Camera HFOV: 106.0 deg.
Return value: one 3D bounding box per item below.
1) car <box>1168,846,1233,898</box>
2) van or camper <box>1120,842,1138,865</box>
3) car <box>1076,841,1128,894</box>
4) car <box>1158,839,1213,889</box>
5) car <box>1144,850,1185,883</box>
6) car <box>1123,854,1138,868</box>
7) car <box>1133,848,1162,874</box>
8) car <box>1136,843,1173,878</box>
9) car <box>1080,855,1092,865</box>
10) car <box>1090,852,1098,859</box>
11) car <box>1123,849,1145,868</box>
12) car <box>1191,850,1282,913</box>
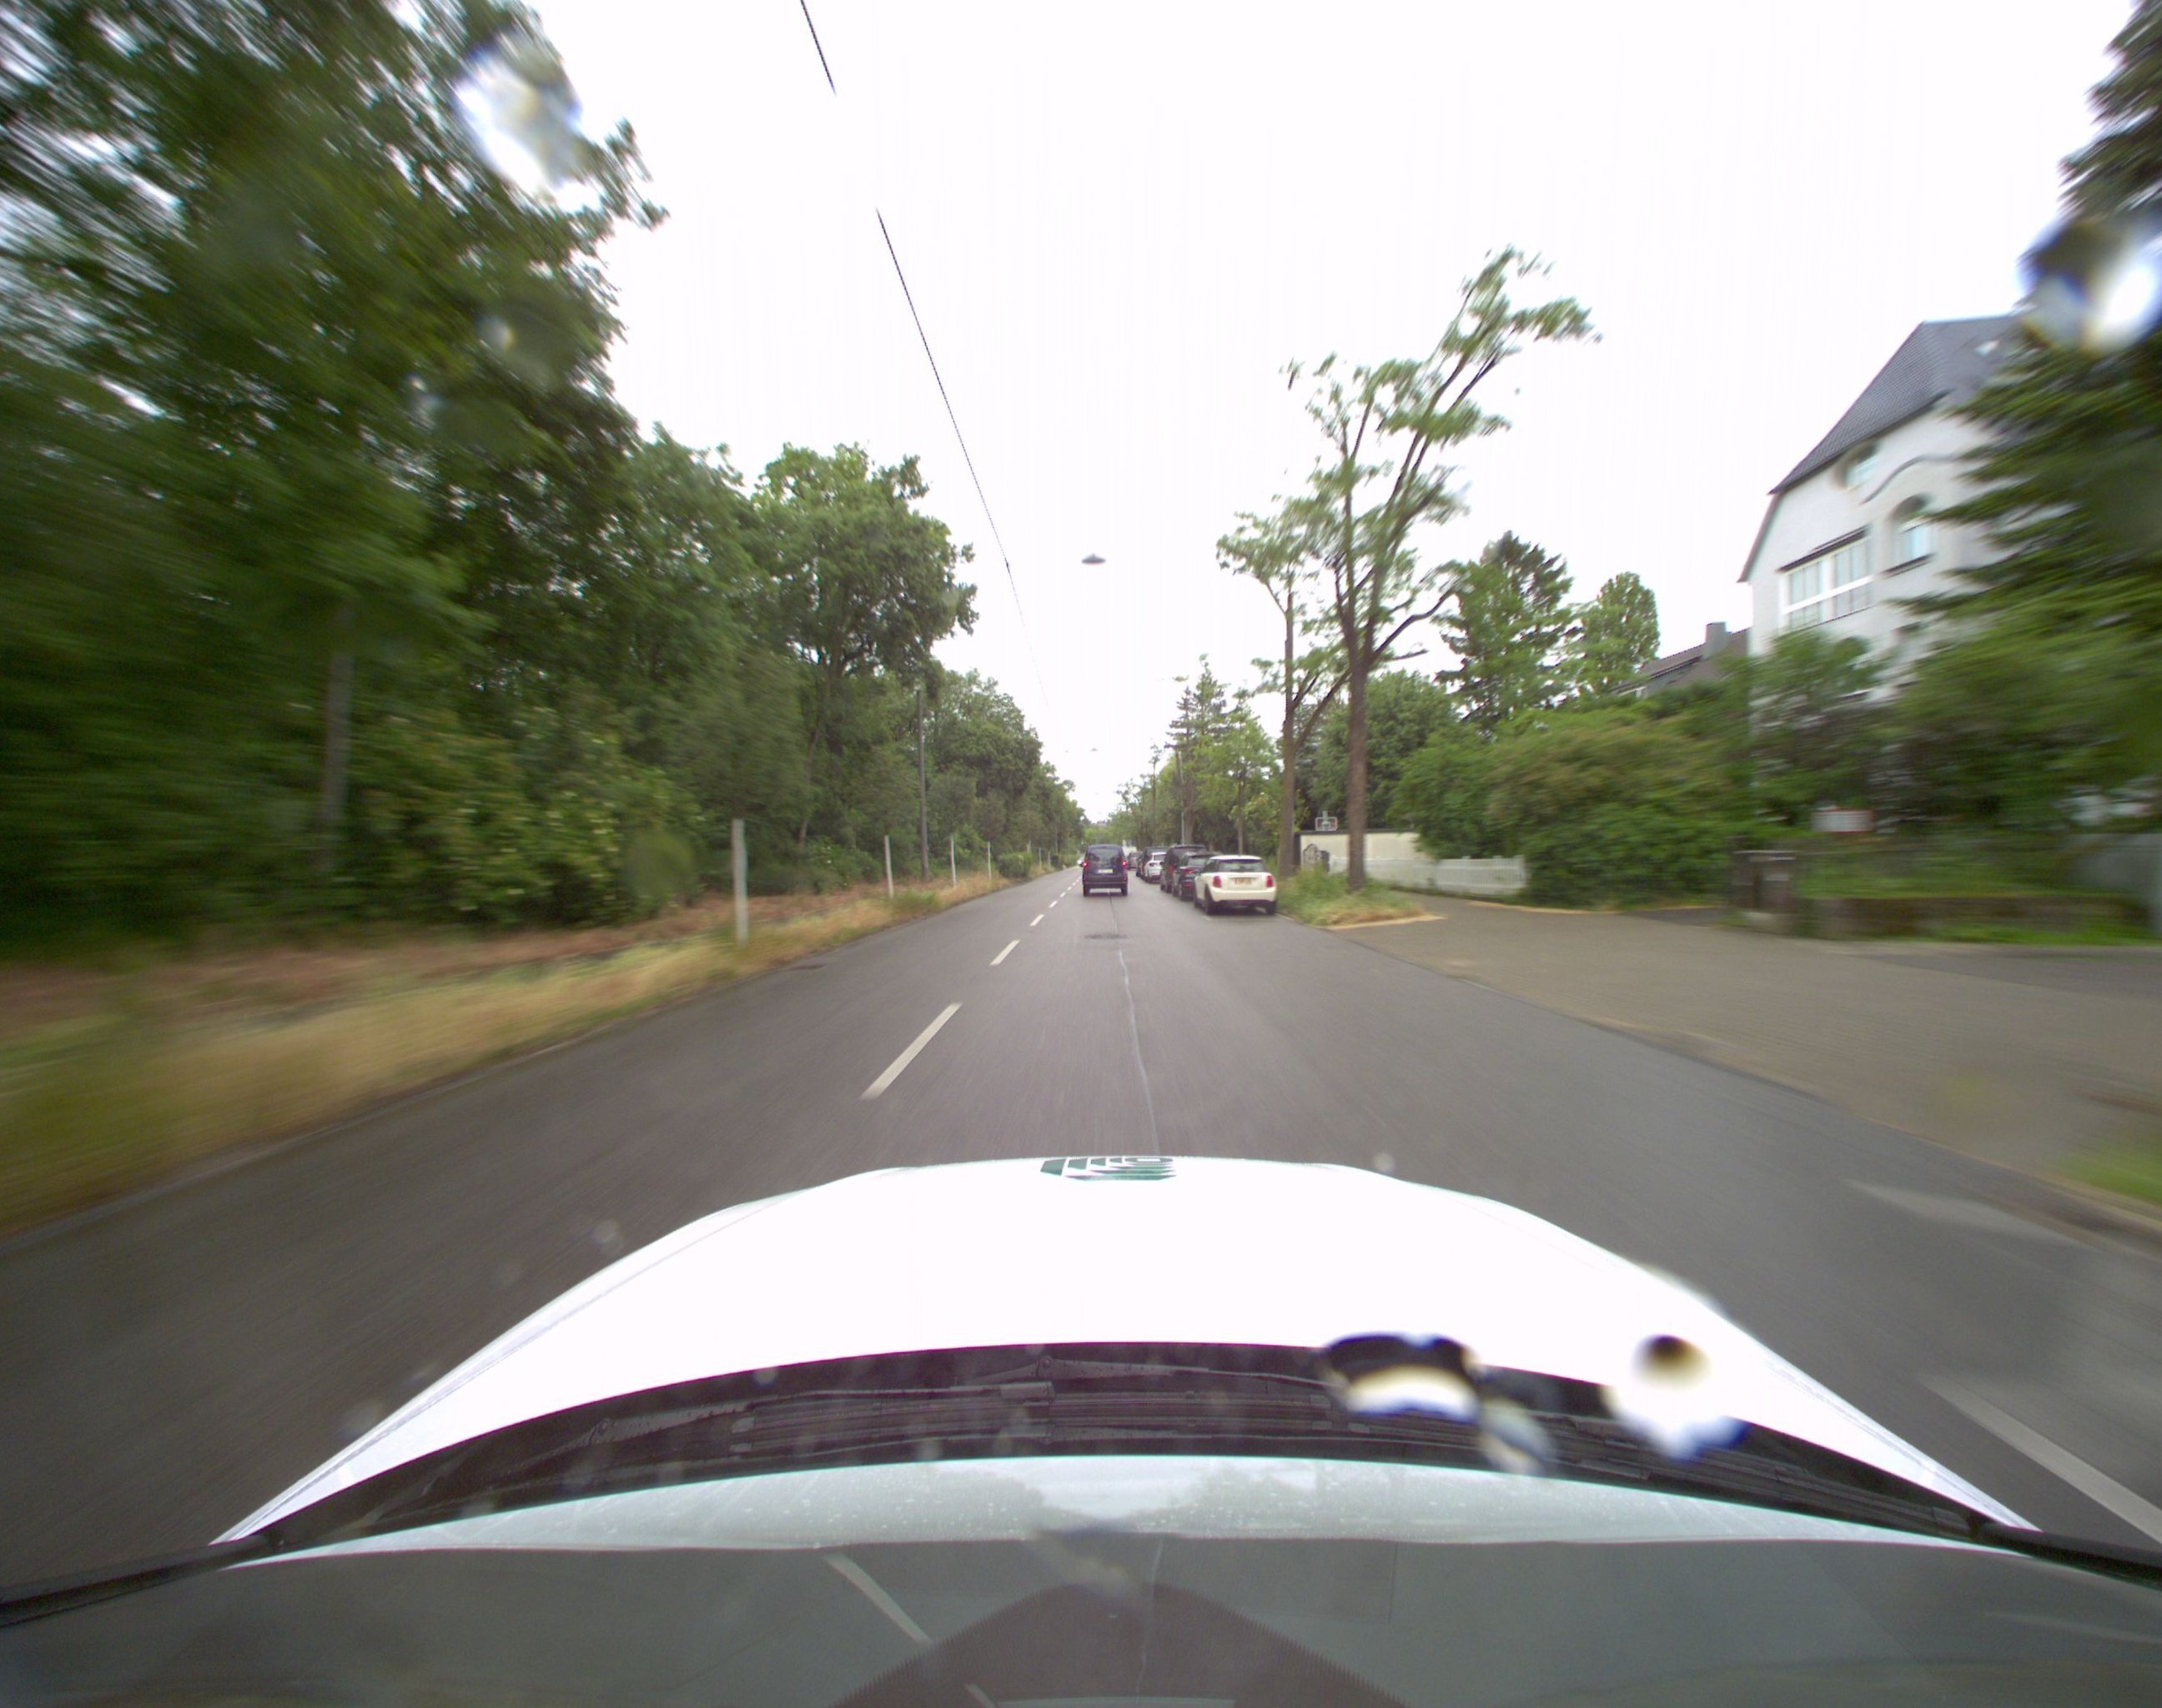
[{"bbox_3d":[3.889,0.532,26.966,1.672,1.555,4.077,0,1,2],"label":"car"},{"bbox_3d":[5.893,-0.089,100.171,2.071,2.650,5.348,0,1,1],"label":"van or camper"},{"bbox_3d":[0.734,0.443,30.071,1.762,1.830,3.540,0,1,-1],"label":"car"},{"bbox_3d":[4.061,0.363,32.203,1.724,1.847,4.232,0,1,2],"label":"car"},{"bbox_3d":[4.353,0.619,42.782,1.798,1.613,4.287,0,1,1],"label":"car"},{"bbox_3d":[5.576,0.770,92.344,1.618,1.464,3.813,0,1,5],"label":"car"},{"bbox_3d":[4.559,0.468,56.036,1.767,1.723,4.329,0,1,2],"label":"car"},{"bbox_3d":[4.386,0.367,49.310,1.986,2.013,4.890,0,1,2],"label":"car"},{"bbox_3d":[0.812,0.925,129.718,1.853,1.480,4.158,-2,0,2],"label":"car"},{"bbox_3d":[2.916,0.441,183.437,1.777,1.479,3.968,-2,-1,1],"label":"car"},{"bbox_3d":[5.138,0.388,79.327,1.809,1.813,4.282,0,1,0],"label":"car"},{"bbox_3d":[3.921,0.635,21.092,1.731,1.464,3.726,0,1,1],"label":"car"}]
